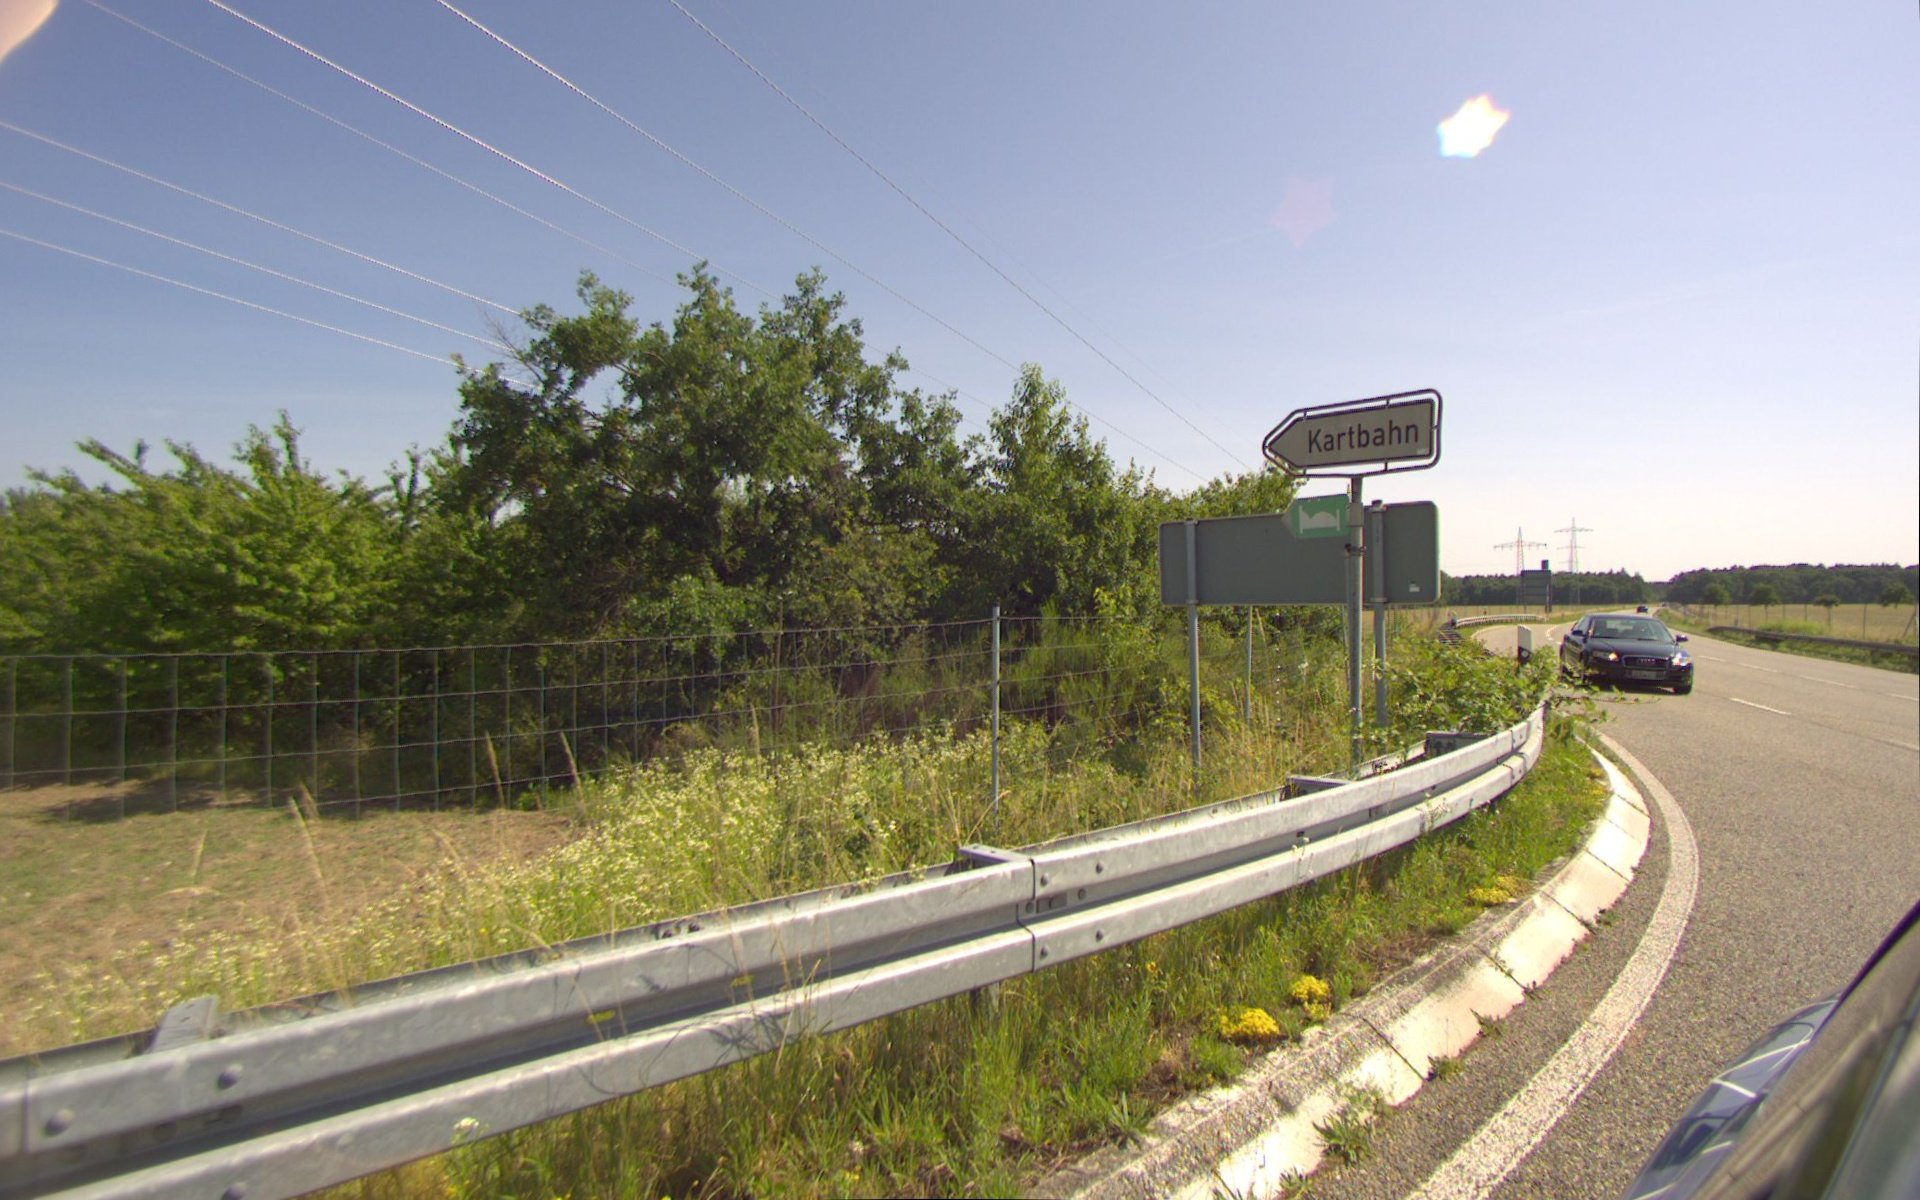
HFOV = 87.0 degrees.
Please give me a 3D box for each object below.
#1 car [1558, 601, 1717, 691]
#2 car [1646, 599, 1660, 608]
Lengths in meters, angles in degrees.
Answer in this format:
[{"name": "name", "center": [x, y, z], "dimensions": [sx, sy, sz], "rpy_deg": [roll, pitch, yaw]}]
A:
[{"name": "car", "center": [13.079, 0.805, 19.801], "dimensions": [1.868, 1.474, 4.041], "rpy_deg": [3, 1, 24]}, {"name": "car", "center": [128.589, 0.656, 187.802], "dimensions": [1.821, 1.526, 4.116], "rpy_deg": [3, 2, 31]}]
